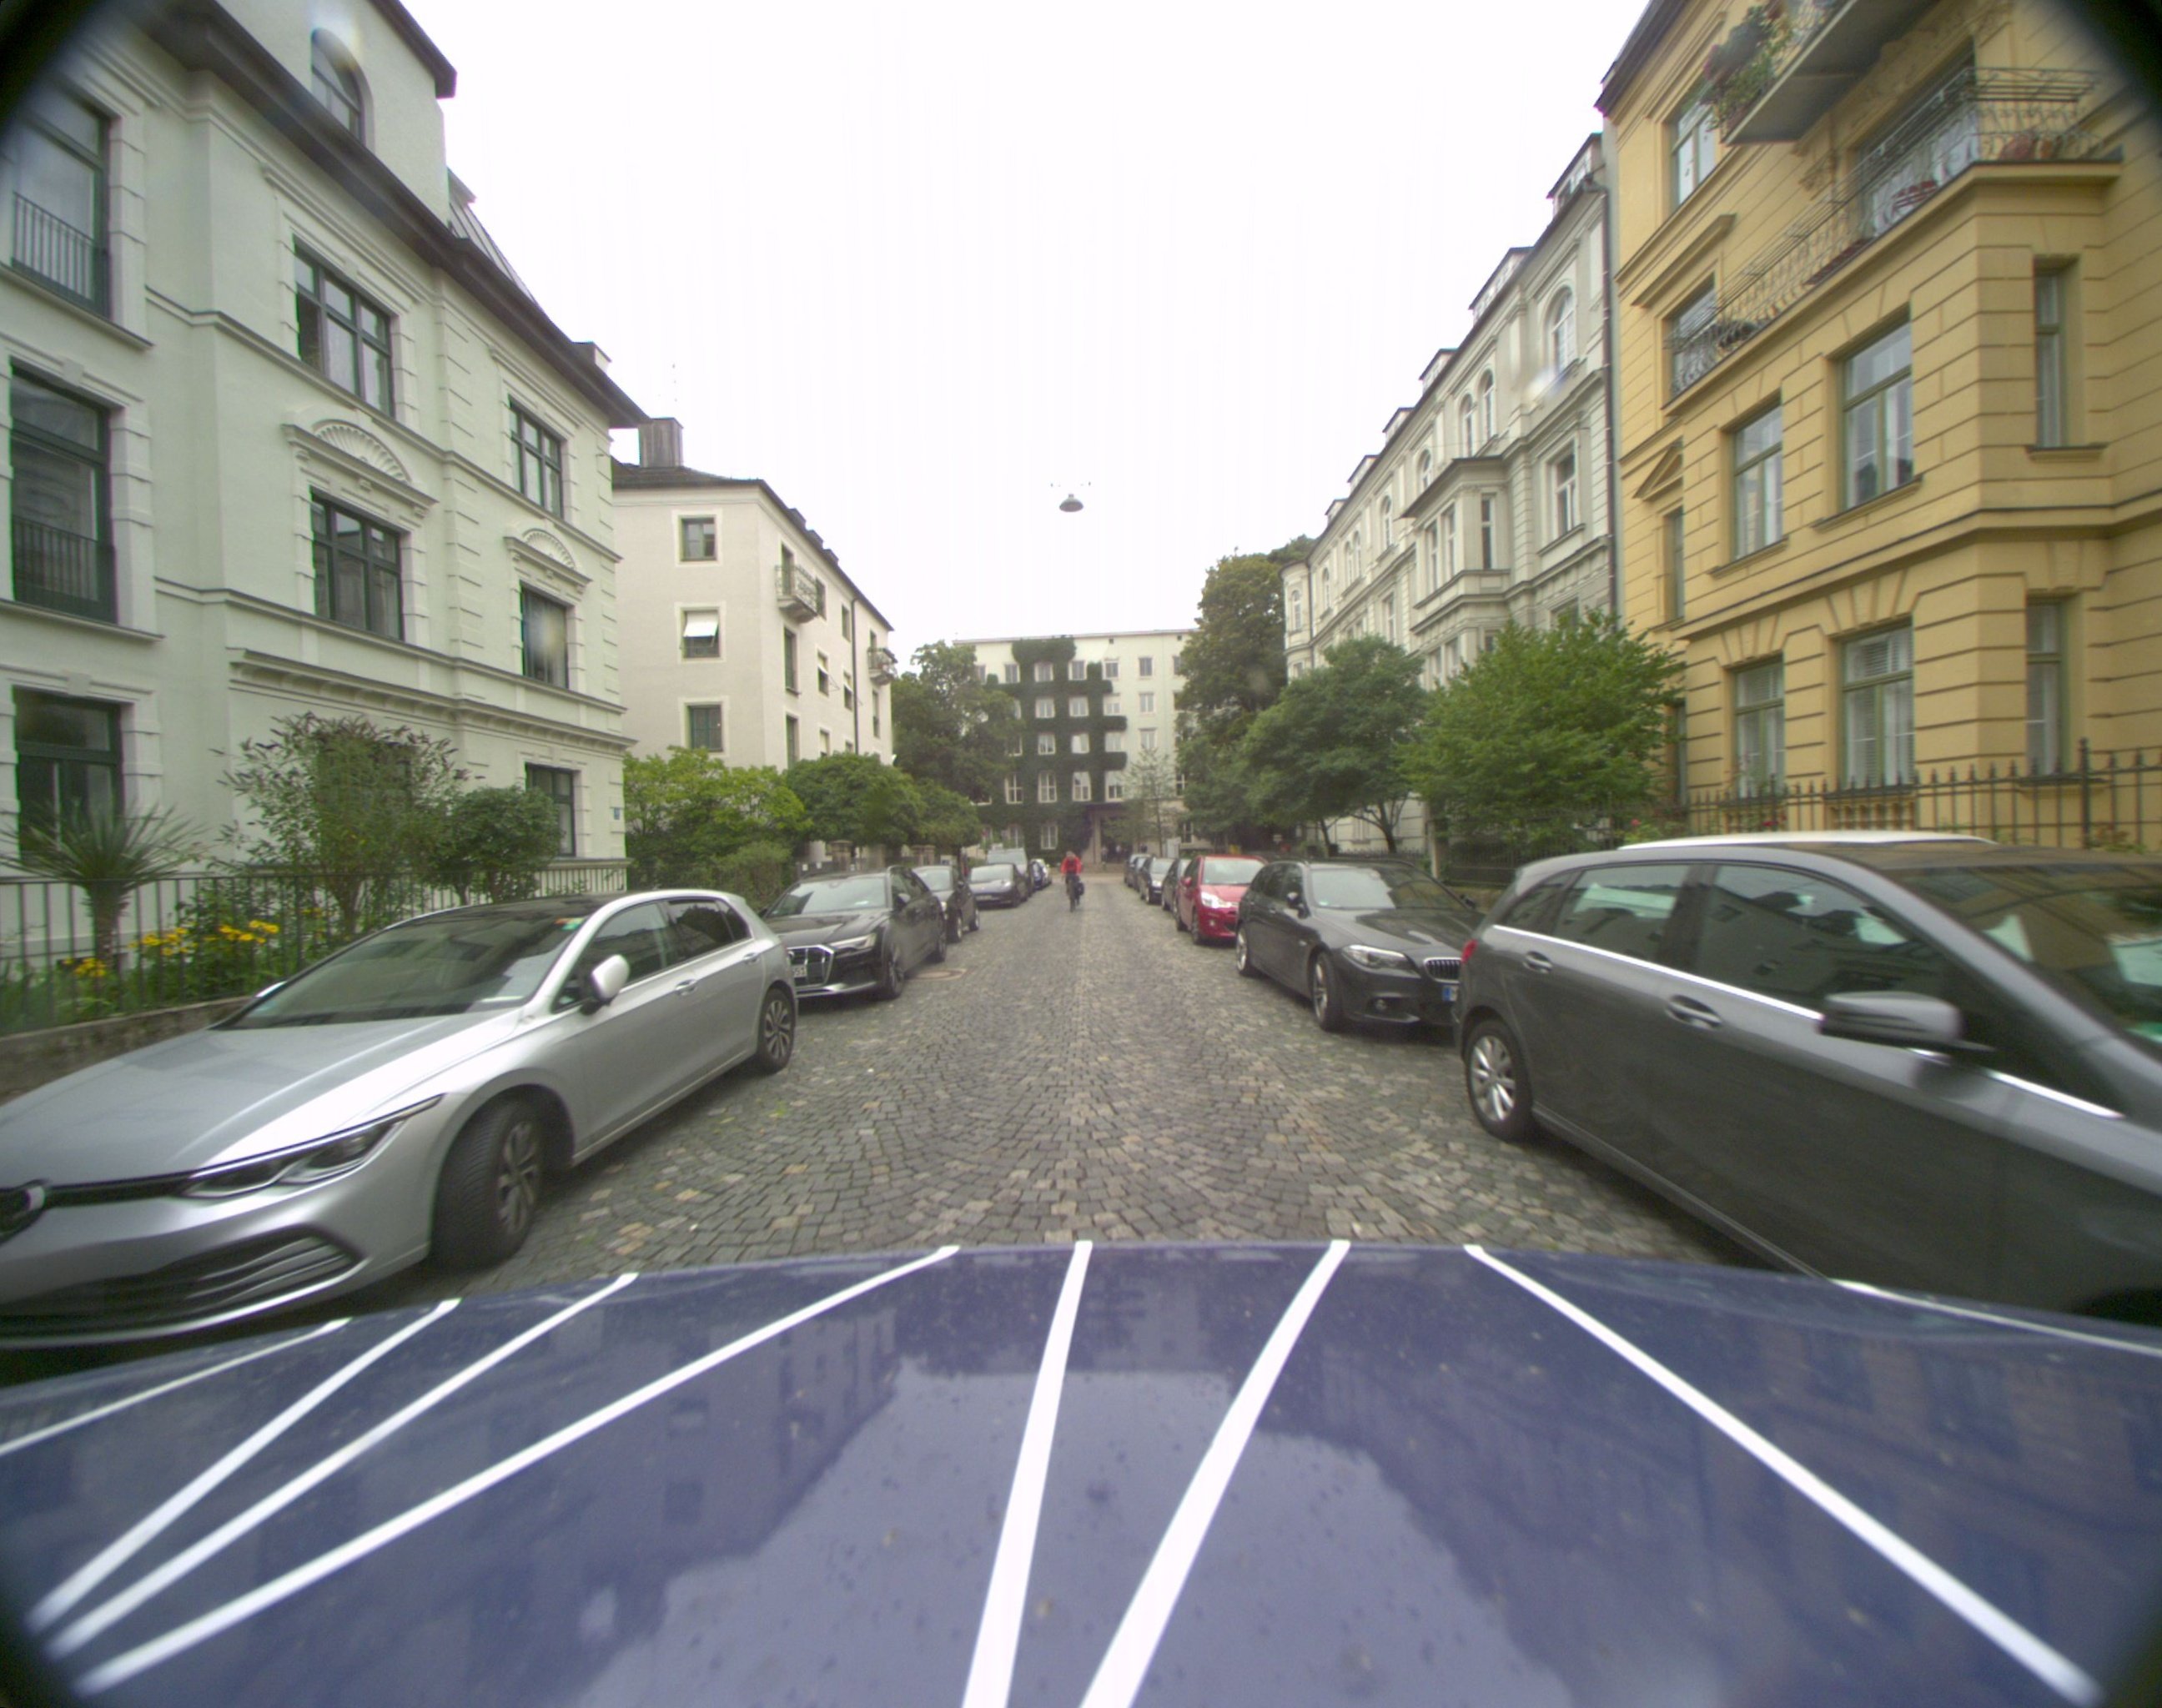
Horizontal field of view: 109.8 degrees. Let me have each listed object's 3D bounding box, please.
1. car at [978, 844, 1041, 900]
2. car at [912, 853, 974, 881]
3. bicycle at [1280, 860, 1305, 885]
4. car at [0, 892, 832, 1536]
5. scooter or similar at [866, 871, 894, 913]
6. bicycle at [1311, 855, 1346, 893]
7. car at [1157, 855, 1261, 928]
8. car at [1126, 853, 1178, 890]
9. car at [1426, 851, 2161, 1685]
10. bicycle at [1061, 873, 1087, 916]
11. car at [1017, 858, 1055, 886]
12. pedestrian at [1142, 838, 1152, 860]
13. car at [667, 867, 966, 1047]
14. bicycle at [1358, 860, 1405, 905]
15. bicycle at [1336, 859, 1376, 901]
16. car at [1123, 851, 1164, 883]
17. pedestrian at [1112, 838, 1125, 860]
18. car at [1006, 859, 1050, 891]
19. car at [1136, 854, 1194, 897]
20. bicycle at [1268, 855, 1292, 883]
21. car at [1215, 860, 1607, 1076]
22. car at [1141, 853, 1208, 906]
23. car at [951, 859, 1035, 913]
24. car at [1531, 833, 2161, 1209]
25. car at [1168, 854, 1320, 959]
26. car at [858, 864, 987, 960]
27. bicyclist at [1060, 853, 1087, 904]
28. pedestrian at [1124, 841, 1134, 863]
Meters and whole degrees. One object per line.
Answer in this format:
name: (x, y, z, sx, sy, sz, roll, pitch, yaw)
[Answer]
car: (-2.816, 0.643, 30.868, 1.999, 1.958, 4.965, -5, 1, -1)
car: (-9.838, 0.911, 54.453, 3.997, 1.671, 1.899, -4, 1, -2)
bicycle: (8.091, 0.687, 29.137, 0.439, 0.868, 1.790, -5, 1, 1)
car: (-3.126, 1.133, 4.304, 1.760, 1.451, 4.480, -4, 0, 1)
scooter or similar: (-6.199, 1.154, 23.469, 0.444, 1.209, 1.470, 3, 1, -2)
bicycle: (7.966, 0.632, 24.539, 0.510, 1.118, 1.790, -5, 1, 1)
car: (3.103, 0.845, 19.391, 1.822, 1.500, 4.641, 1, 1, 0)
car: (3.123, 0.729, 34.137, 1.744, 1.490, 4.280, -1, 1, -2)
car: (2.911, 0.794, 2.267, 1.744, 1.577, 4.191, -1, 1, -2)
bicycle: (-0.186, 1.097, 21.055, 0.636, 1.021, 1.955, -2, 1, 0)
car: (-2.360, 0.952, 41.099, 1.744, 1.367, 4.281, -1, 1, 1)
pedestrian: (5.864, -0.475, 67.506, 0.665, 1.905, 0.863, -3, 1, 9)
car: (-2.971, 1.055, 9.966, 1.909, 1.494, 5.105, -4, 0, 1)
bicycle: (7.738, 0.710, 19.627, 0.474, 1.045, 1.759, -5, 1, 1)
bicycle: (7.842, 0.716, 21.736, 0.434, 1.092, 1.790, -5, 1, 1)
car: (3.212, 0.635, 39.567, 1.744, 1.572, 4.281, -1, 1, 0)
pedestrian: (3.361, -0.462, 67.526, 0.703, 1.905, 0.861, -4, 2, -30)
car: (-2.455, 0.950, 36.028, 1.744, 1.367, 4.181, -1, 1, 1)
car: (3.195, 0.782, 29.638, 1.744, 1.490, 4.133, -1, 1, -1)
bicycle: (8.085, 0.580, 30.922, 0.464, 1.045, 1.695, -5, 1, 1)
car: (2.847, 0.846, 8.065, 1.875, 1.461, 5.133, -1, 1, -1)
car: (2.924, 0.752, 24.535, 1.814, 1.490, 4.510, -1, 1, 3)
car: (-2.807, 0.984, 25.269, 1.942, 1.457, 4.532, -4, 0, 3)
car: (5.302, 0.648, 5.213, 1.846, 1.457, 4.389, -3, 0, 1)
car: (2.762, 0.812, 13.851, 1.846, 1.577, 4.191, -1, 1, 0)
car: (-3.021, 1.049, 15.242, 1.671, 1.499, 3.685, -4, 0, 0)
bicyclist: (-0.201, 0.659, 20.988, 0.648, 1.350, 0.656, -3, 1, 0)
pedestrian: (4.281, -0.192, 67.667, 0.701, 1.905, 0.863, -4, 1, 4)
